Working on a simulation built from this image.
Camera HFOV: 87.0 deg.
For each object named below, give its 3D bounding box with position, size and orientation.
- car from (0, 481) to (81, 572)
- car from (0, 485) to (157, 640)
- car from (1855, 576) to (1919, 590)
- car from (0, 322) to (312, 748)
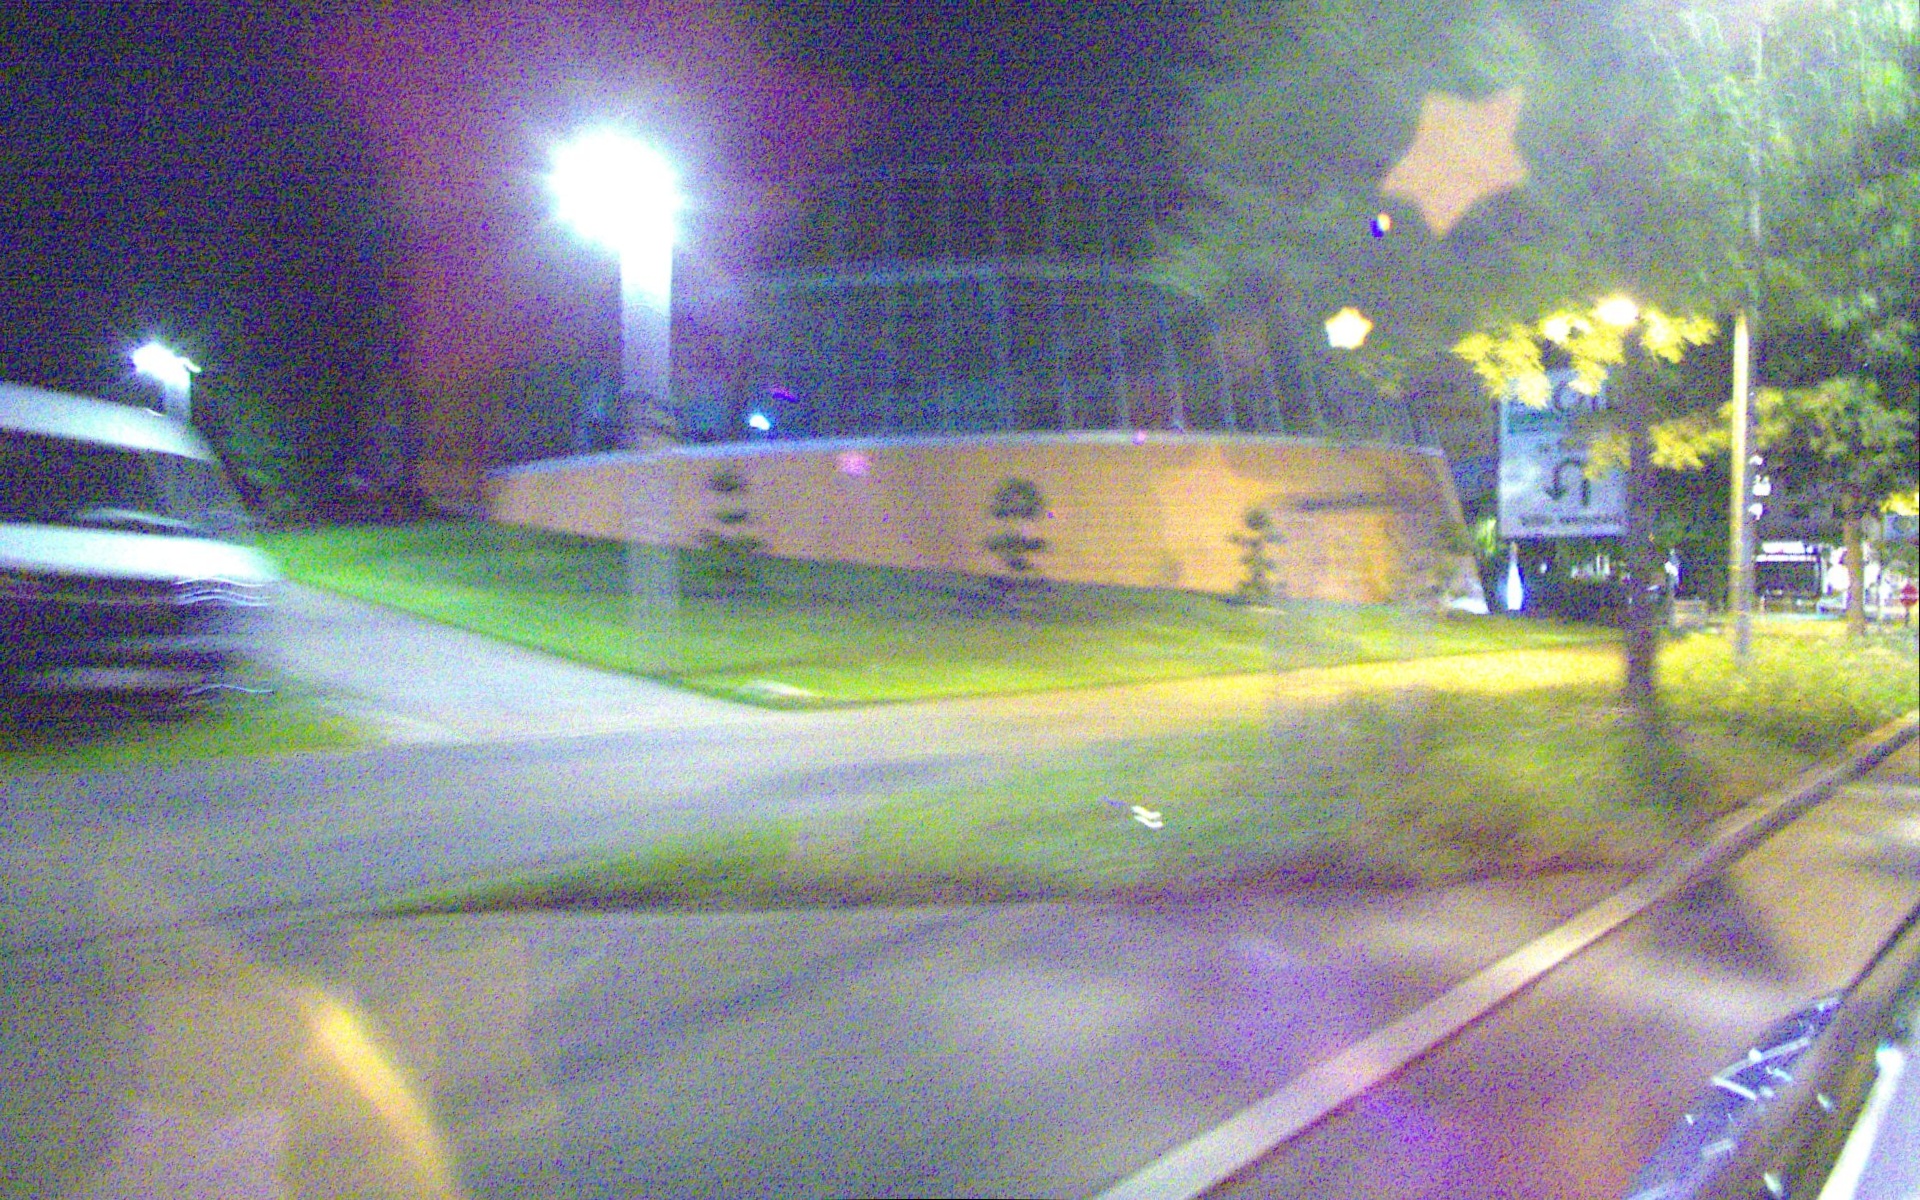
[{"bbox_3d":[-18.574,-1.381,18.110,1.765,1.620,3.933,6,5,25],"label":"car"},{"bbox_3d":[-11.722,-0.455,11.324,1.793,1.732,3.933,3,3,26],"label":"car"},{"bbox_3d":[75.729,-1.389,82.480,3.933,1.047,1.481,2,1,8],"label":"car"},{"bbox_3d":[-7.975,-0.702,8.188,5.995,2.559,2.258,7,5,32],"label":"car"}]
